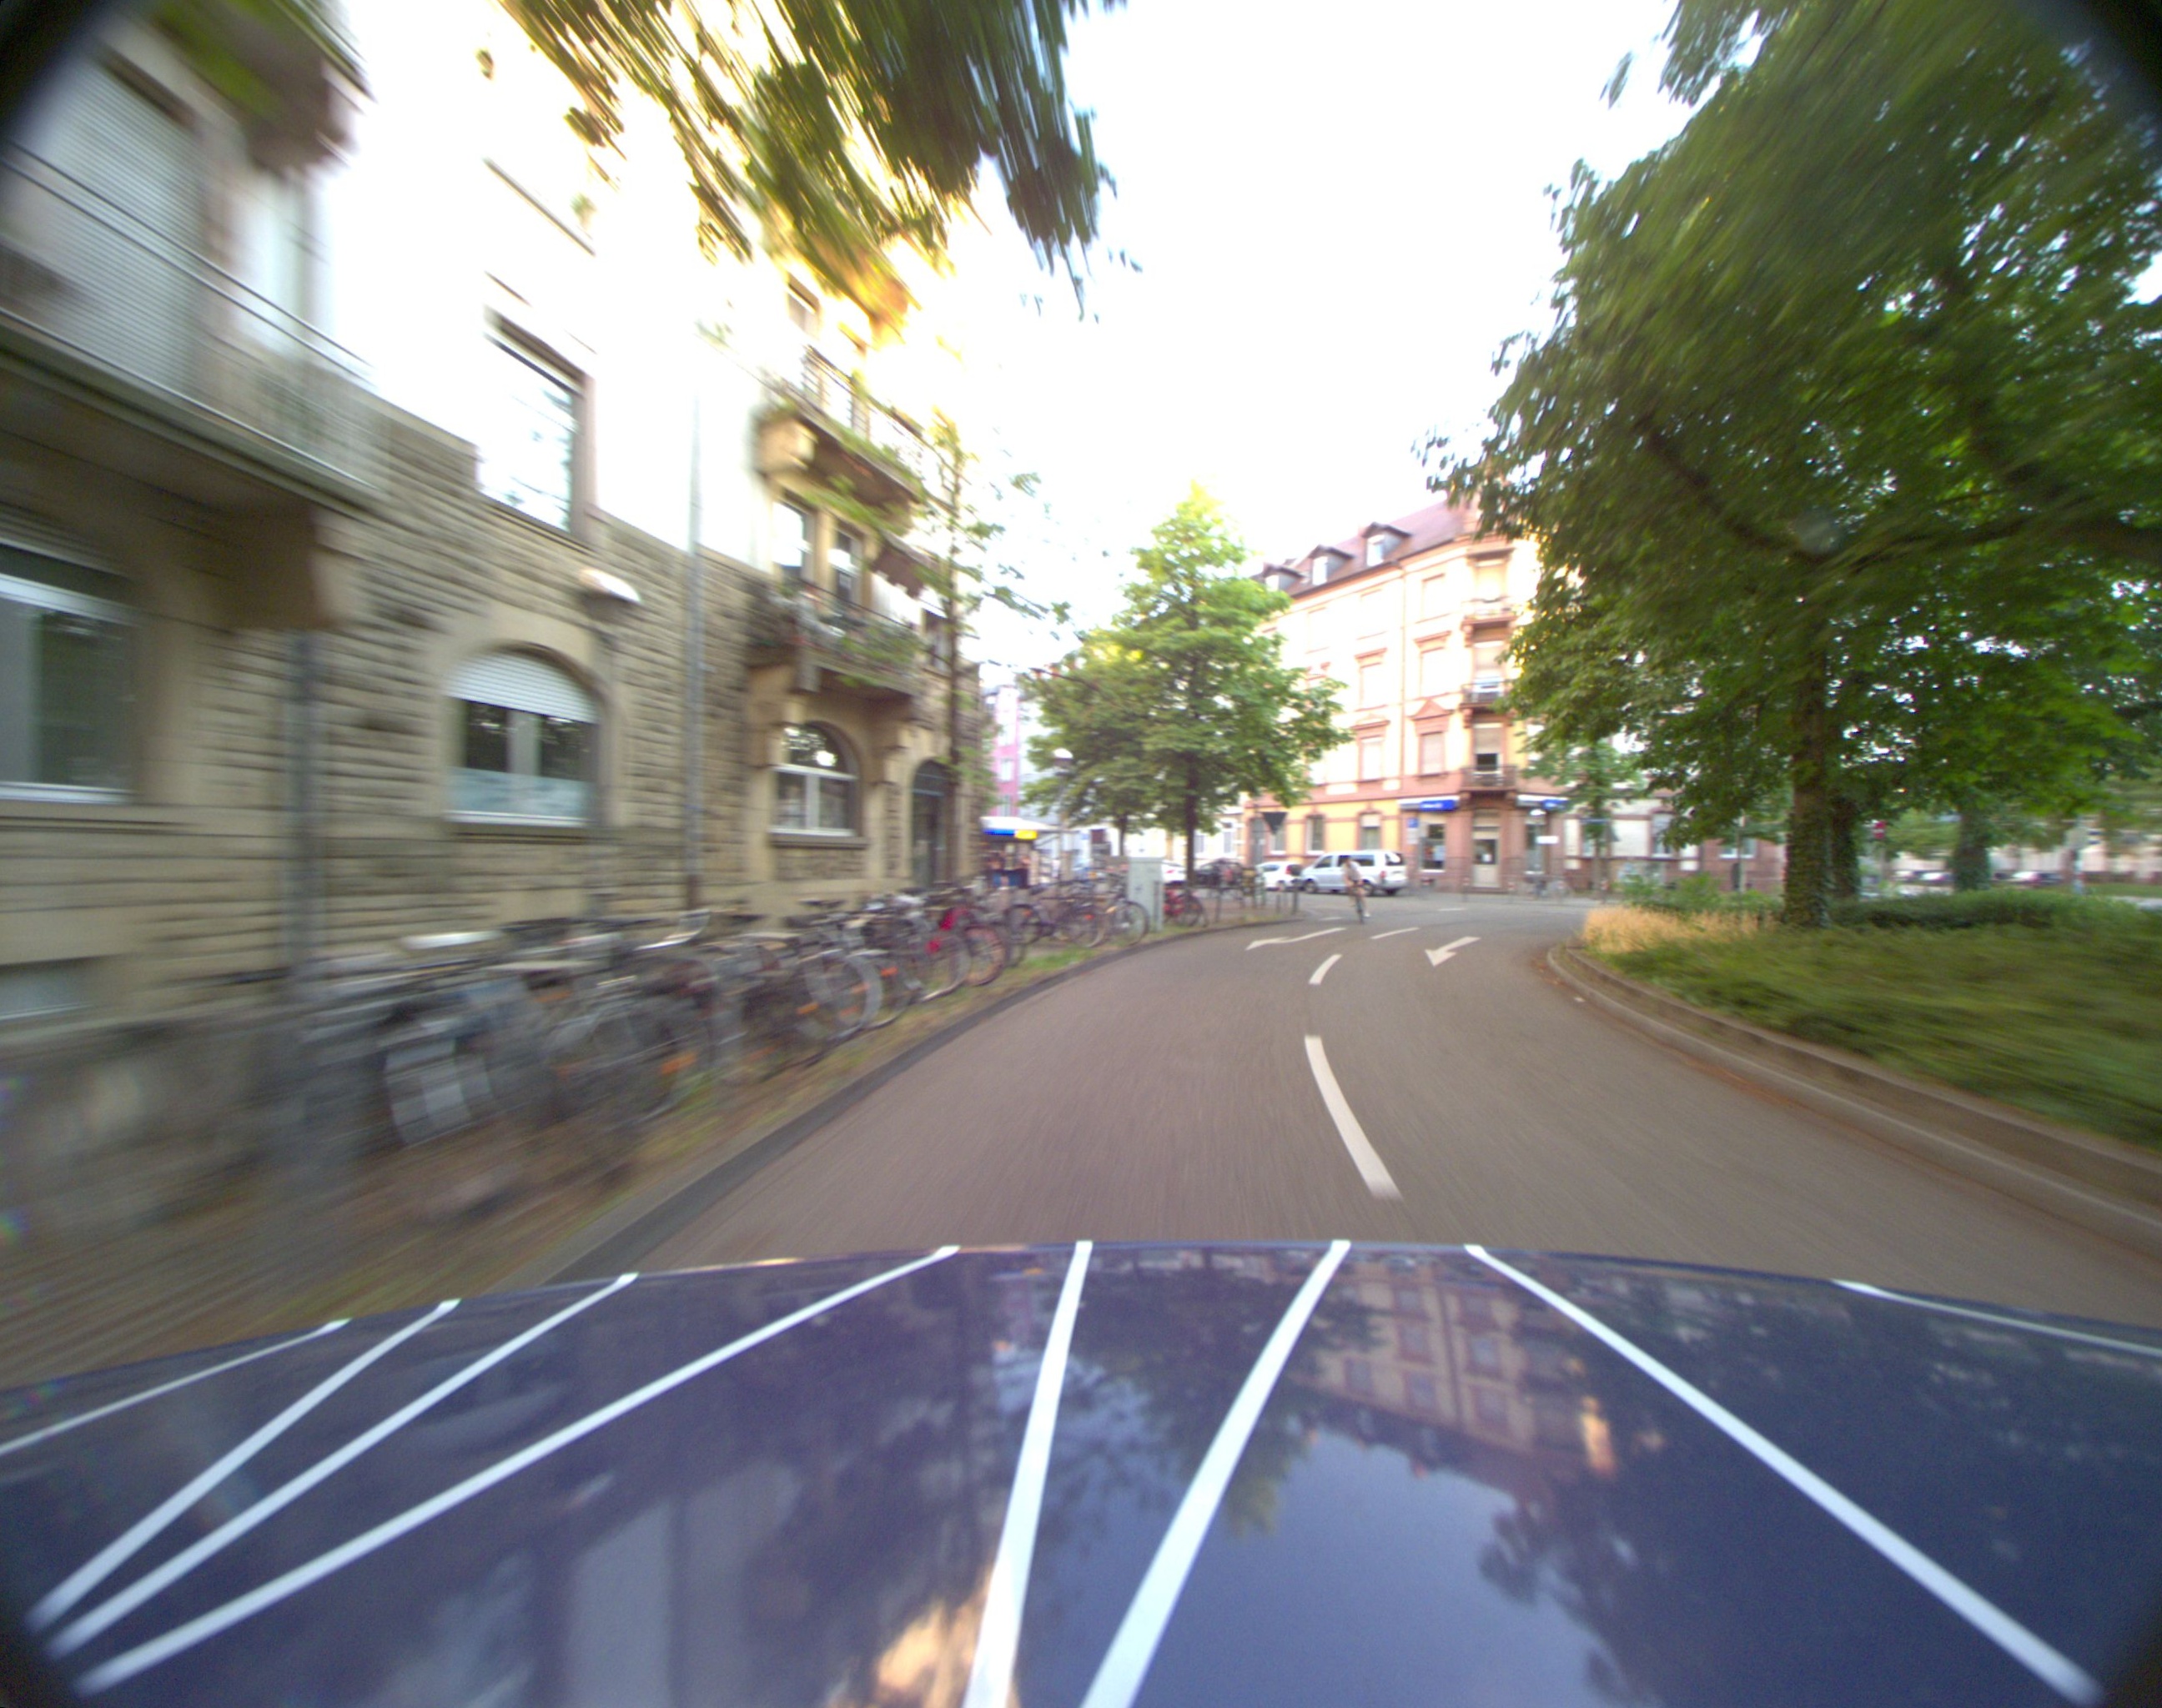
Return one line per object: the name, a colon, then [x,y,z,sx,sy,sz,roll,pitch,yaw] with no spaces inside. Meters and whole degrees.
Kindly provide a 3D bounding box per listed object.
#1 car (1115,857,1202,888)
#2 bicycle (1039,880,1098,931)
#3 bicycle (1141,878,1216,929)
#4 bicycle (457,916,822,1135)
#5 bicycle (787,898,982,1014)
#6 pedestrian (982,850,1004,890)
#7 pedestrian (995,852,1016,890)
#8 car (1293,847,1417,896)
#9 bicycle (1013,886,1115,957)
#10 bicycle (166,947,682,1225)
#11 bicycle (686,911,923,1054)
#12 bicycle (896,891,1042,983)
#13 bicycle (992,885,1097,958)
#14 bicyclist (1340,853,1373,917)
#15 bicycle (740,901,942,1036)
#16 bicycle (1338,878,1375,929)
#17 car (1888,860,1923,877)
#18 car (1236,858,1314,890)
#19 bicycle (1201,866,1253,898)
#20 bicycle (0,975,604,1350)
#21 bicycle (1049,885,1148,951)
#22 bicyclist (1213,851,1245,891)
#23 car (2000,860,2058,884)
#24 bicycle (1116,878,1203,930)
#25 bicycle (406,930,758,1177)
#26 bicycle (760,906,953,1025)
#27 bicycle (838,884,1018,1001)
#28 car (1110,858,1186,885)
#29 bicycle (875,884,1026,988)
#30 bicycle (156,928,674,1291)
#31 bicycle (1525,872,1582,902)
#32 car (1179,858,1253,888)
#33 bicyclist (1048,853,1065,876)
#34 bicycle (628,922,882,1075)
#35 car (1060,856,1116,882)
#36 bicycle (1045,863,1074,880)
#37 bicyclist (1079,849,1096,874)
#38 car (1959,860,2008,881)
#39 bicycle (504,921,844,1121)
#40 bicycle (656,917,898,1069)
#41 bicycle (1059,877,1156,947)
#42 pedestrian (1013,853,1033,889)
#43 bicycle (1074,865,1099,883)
car: [3.991,0.926,40.152,2.004,1.508,4.828,1,0,-32]
bicycle: [-0.233,1.055,16.039,0.431,0.963,1.730,1,0,29]
bicycle: [2.132,1.067,16.757,1.603,1.033,0.433,1,0,35]
bicycle: [-2.590,0.997,4.540,1.852,1.126,0.418,1,19,11]
bicycle: [-2.040,1.028,7.929,1.917,1.058,0.553,1,0,13]
pedestrian: [-3.694,0.660,31.870,0.680,1.627,0.589,1,0,-35]
pedestrian: [-3.252,0.729,32.715,0.589,1.627,0.679,1,0,26]
car: [12.194,0.719,34.165,2.051,2.045,4.992,-1,1,-33]
bicycle: [-0.279,1.075,12.349,1.604,1.057,0.419,1,0,19]
bicycle: [-3.058,1.051,3.719,1.856,1.098,0.573,1,0,-12]
bicycle: [-2.373,1.066,6.547,1.917,1.055,0.536,1,0,12]
bicycle: [-1.431,1.039,9.707,1.793,1.057,0.448,1,0,15]
bicycle: [-0.580,1.046,12.051,1.604,1.069,0.419,1,0,19]
bicyclist: [6.737,0.740,18.583,0.685,1.503,0.975,0,0,24]
bicycle: [-2.239,1.026,7.074,1.852,1.110,0.419,1,0,15]
bicycle: [6.841,1.191,18.826,0.685,1.144,2.119,0,0,24]
car: [95.210,1.687,87.794,1.904,1.839,4.009,1,0,34]
car: [9.752,0.990,38.452,1.692,1.483,3.604,-1,1,-35]
bicycle: [5.576,1.059,29.113,0.688,1.144,2.110,0,0,-33]
bicycle: [-2.849,1.046,2.751,1.884,1.132,0.492,-1,-3,-2]
bicycle: [0.299,1.079,13.087,1.604,1.014,0.556,1,0,23]
bicyclist: [5.642,0.650,29.020,0.687,1.503,0.970,0,0,-33]
car: [78.329,1.457,62.846,1.904,1.839,4.009,1,0,34]
bicycle: [1.695,1.071,16.608,1.893,1.033,0.433,1,0,35]
bicycle: [-2.746,1.039,4.190,1.852,1.138,0.419,1,0,11]
bicycle: [-2.191,1.048,7.398,1.852,1.008,0.419,1,0,15]
bicycle: [-1.726,0.970,8.606,1.917,1.193,0.553,1,0,13]
car: [3.997,1.002,46.135,1.848,1.517,4.789,-2,1,-36]
bicycle: [-1.608,0.979,9.334,1.793,1.161,0.448,1,0,15]
bicycle: [-2.742,0.983,3.174,1.882,1.211,0.492,1,6,11]
bicycle: [18.270,1.256,29.398,1.793,1.077,0.562,1,1,43]
car: [7.308,0.988,41.442,1.738,1.483,3.732,-2,1,-38]
bicyclist: [-1.618,0.694,51.026,0.728,1.574,0.872,1,0,-44]
bicycle: [-2.476,1.063,5.774,1.852,0.994,0.419,1,0,11]
car: [0.420,0.986,51.483,1.809,1.583,4.134,-2,1,-32]
bicycle: [-1.447,1.173,50.853,0.731,1.088,2.042,1,0,-45]
bicyclist: [0.383,0.460,48.027,0.680,1.536,0.873,1,0,-35]
car: [83.349,1.482,70.218,1.904,1.839,4.009,1,0,34]
bicycle: [-2.544,1.035,4.825,1.852,1.088,0.418,1,19,11]
bicycle: [-2.424,1.072,6.062,1.852,1.045,0.419,1,0,11]
bicycle: [0.471,1.010,13.496,1.604,1.141,0.556,1,0,23]
pedestrian: [-2.536,0.725,33.134,0.589,1.530,0.679,1,0,26]
bicycle: [0.341,1.252,48.080,0.687,1.088,1.804,1,0,-35]
